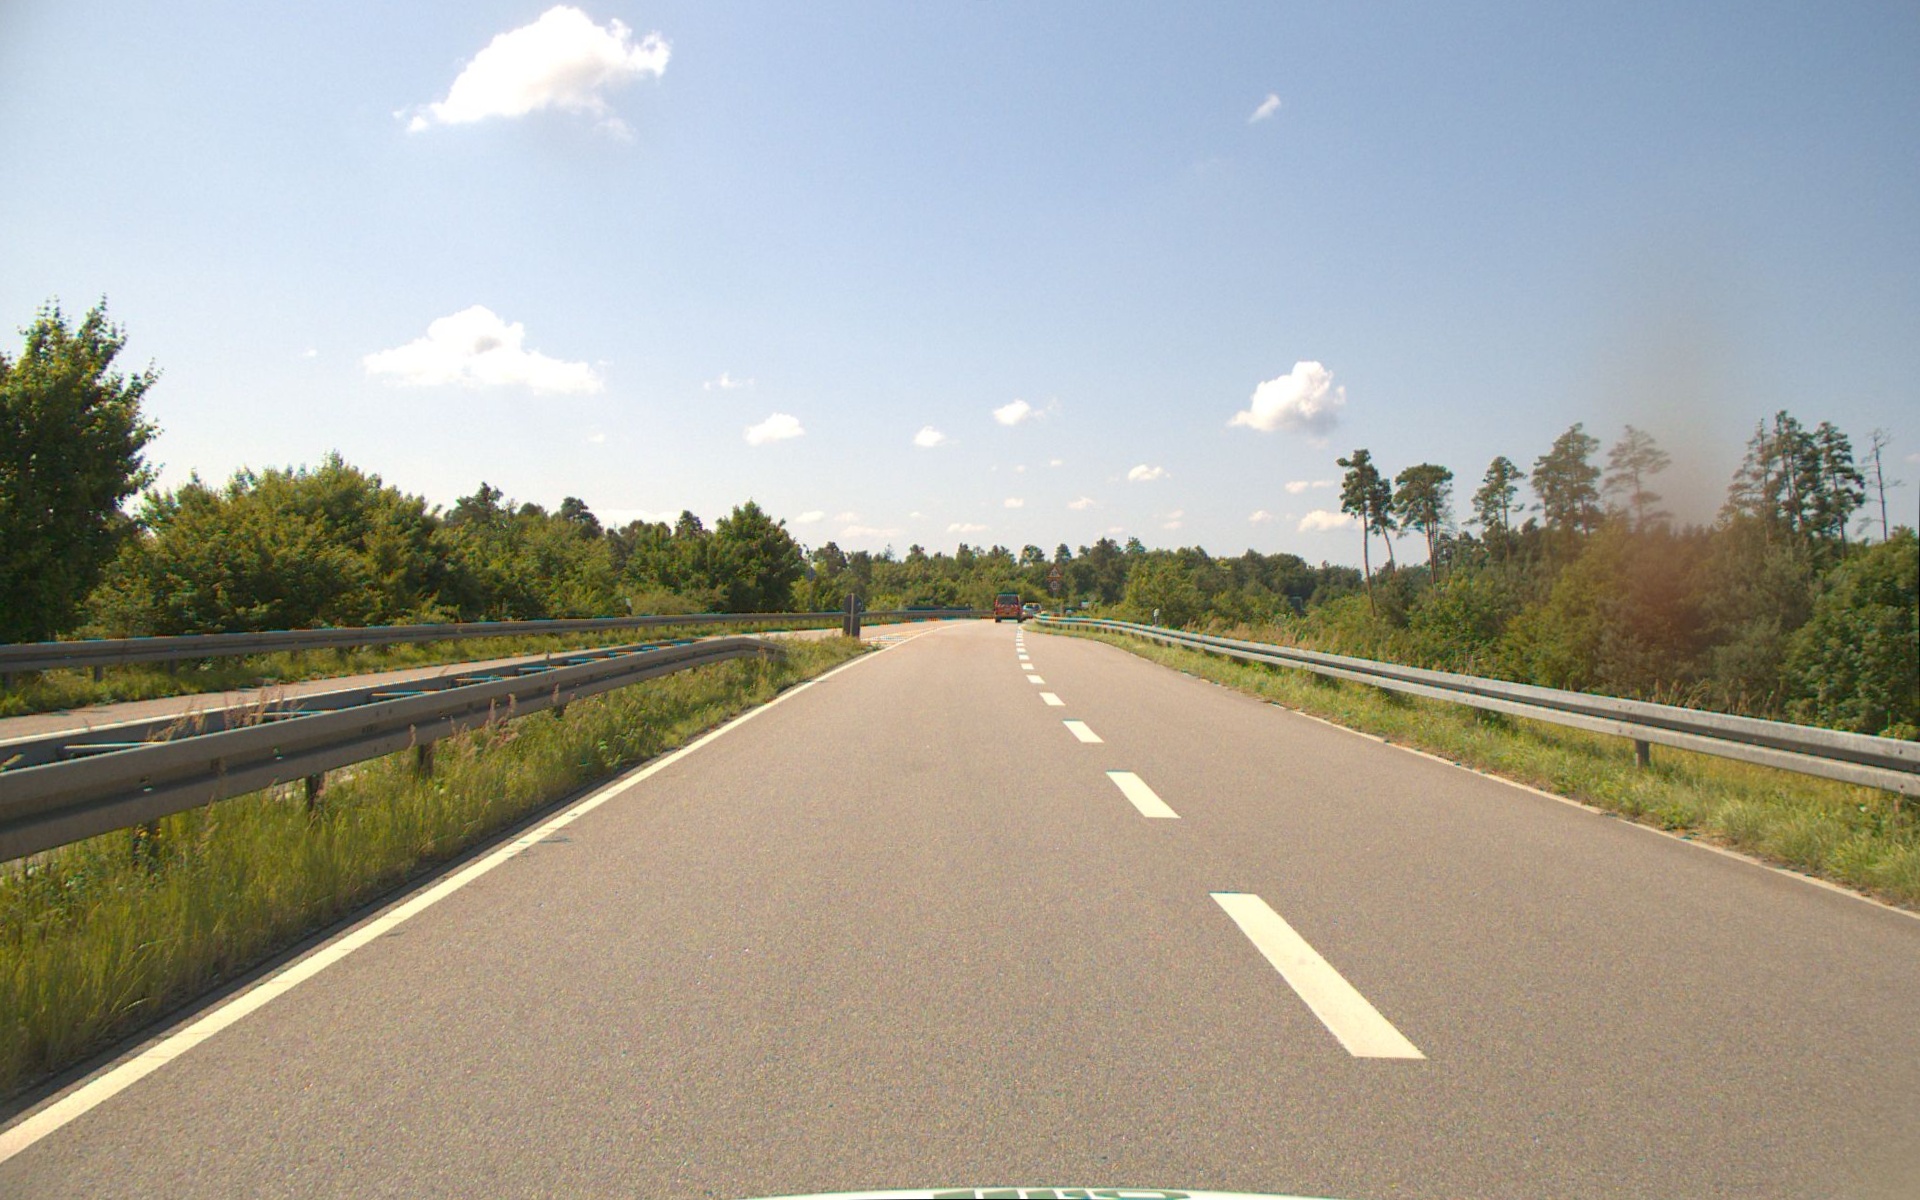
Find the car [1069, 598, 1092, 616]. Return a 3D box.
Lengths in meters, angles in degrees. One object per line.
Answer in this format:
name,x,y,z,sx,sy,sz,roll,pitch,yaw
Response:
car,14.259,0.849,195.111,2.138,1.989,5.808,1,-1,10

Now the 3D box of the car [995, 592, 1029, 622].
car,3.748,0.514,118.165,2.033,2.028,5.115,1,-1,6

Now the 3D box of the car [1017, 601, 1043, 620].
car,5.945,0.877,139.883,1.965,1.520,4.241,1,-1,6
